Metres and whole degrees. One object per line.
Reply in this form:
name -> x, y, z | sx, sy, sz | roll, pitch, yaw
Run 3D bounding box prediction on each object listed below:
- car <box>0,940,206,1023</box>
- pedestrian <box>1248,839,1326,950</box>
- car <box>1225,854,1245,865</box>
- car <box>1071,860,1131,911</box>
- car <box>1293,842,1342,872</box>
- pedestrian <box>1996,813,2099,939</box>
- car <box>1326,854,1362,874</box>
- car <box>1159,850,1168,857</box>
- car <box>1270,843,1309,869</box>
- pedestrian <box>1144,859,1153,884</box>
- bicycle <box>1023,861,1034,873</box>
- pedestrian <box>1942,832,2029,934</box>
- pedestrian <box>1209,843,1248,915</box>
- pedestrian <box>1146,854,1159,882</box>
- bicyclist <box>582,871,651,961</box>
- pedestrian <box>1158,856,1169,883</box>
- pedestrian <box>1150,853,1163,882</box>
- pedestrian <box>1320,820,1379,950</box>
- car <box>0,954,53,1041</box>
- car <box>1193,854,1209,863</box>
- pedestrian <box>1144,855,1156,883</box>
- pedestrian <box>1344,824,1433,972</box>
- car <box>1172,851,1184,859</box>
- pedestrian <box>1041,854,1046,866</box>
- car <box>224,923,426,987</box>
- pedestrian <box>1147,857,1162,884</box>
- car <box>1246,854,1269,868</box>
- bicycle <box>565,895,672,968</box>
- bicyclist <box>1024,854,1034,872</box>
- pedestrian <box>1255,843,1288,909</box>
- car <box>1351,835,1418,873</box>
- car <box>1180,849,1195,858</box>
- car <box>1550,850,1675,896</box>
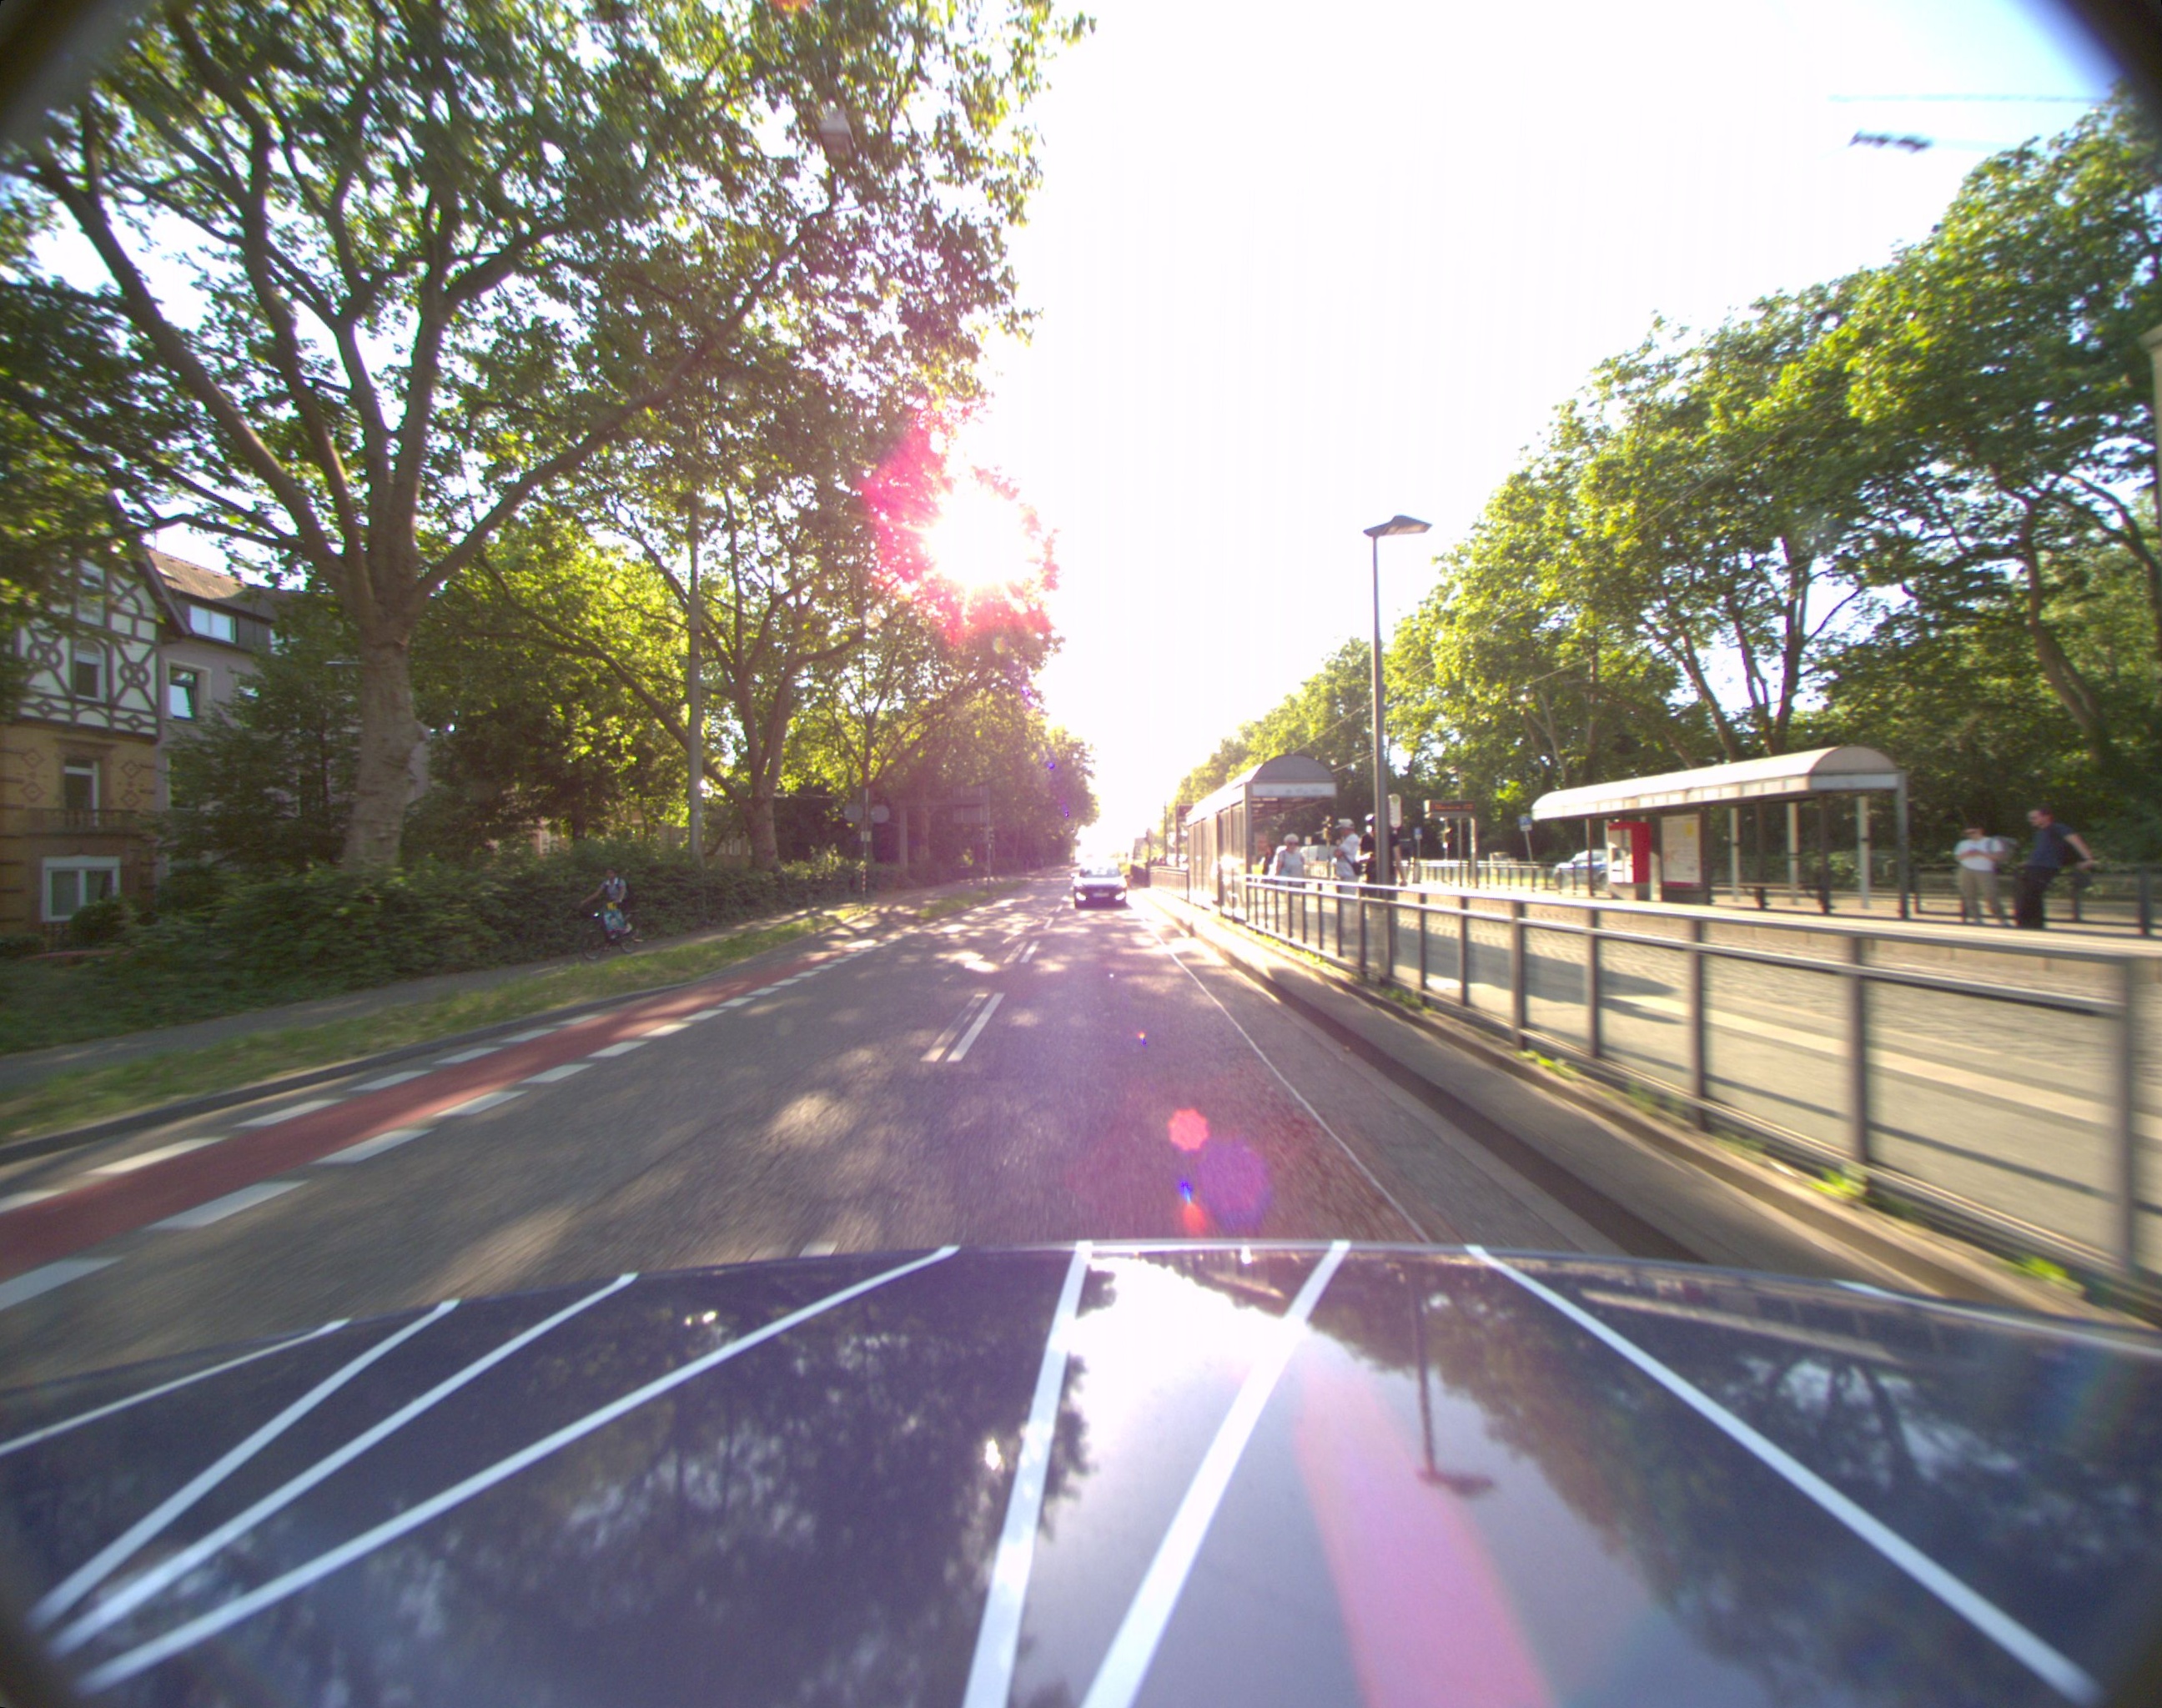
car -> -23.034, 2.857, 17.098 | 4.007, 1.501, 1.796 | 0, -1, -31
pedestrian -> 3.189, 0.609, 11.735 | 0.800, 1.624, 0.868 | -3, 0, 39
car -> 20.778, 0.674, 102.660 | 1.743, 1.428, 3.851 | 1, 1, -1
car -> 0.655, 0.995, 25.573 | 1.799, 1.501, 4.000 | -2, 0, 1
car -> 21.332, 0.231, 68.874 | 2.189, 2.506, 6.269 | 1, 1, -2
pedestrian -> 14.107, 0.309, 11.109 | 0.649, 1.762, 0.650 | -2, 1, 3
car -> 21.489, 0.792, 62.191 | 1.656, 1.504, 3.265 | 1, 1, -2
car -> 20.649, -0.150, 189.717 | 1.734, 1.730, 3.899 | 1, 1, -1
car -> 21.006, 0.167, 76.860 | 2.189, 2.506, 6.049 | 1, 1, -1
pedestrian -> 3.625, 0.929, 40.965 | 0.417, 1.313, 0.359 | 1, 1, 1
bicycle -> -4.985, 1.242, 72.352 | 0.700, 1.101, 1.931 | -1, 0, 9
pedestrian -> 14.174, 0.438, 11.922 | 0.594, 1.535, 0.627 | -2, 1, 1
pedestrian -> 3.565, 0.584, 18.413 | 0.744, 1.684, 0.791 | -3, 1, 1
pedestrian -> 3.945, 0.766, 42.110 | 0.520, 1.559, 0.509 | 2, 1, 31
bicyclist -> -8.112, 1.065, 13.291 | 0.768, 1.504, 0.650 | -1, 0, 0
pedestrian -> 4.529, 0.825, 41.771 | 0.521, 1.463, 0.514 | 1, 1, 2
pedestrian -> 4.232, 0.750, 42.511 | 0.520, 1.559, 0.509 | 2, 1, 31
pedestrian -> 3.946, 0.446, 11.221 | 0.652, 1.831, 0.711 | -2, 1, 11
car -> -22.741, 2.821, 14.070 | 4.007, 1.501, 1.796 | 0, -1, -31
car -> 20.075, 0.747, 127.014 | 1.832, 1.496, 4.393 | 1, 1, -1
pedestrian -> 3.775, 0.807, 41.494 | 0.591, 1.510, 0.514 | 1, 1, 1
pedestrian -> 3.755, 0.512, 9.290 | 0.654, 1.712, 0.708 | -3, 1, -35
car -> 20.600, 0.199, 161.530 | 1.832, 1.830, 4.393 | 1, 1, -1
pedestrian -> -5.232, 0.862, 106.108 | 0.649, 1.626, 0.928 | 1, 1, 2
car -> -22.540, 2.966, 22.900 | 4.007, 1.501, 1.796 | 0, -1, -31
pedestrian -> 3.925, 0.887, 40.407 | 0.592, 1.398, 0.558 | 1, 1, -20
car -> 20.902, 0.852, 90.094 | 1.743, 1.546, 3.881 | 1, 1, -1
bicycle -> -8.117, 1.322, 13.439 | 0.768, 1.101, 1.800 | -1, 0, 0
bicyclist -> -4.994, 0.883, 72.350 | 0.700, 1.718, 1.081 | -1, 0, 9
pedestrian -> 4.604, 0.531, 18.430 | 0.589, 1.558, 0.650 | -3, 1, 1
car -> 21.318, -0.003, 53.742 | 2.189, 2.506, 6.031 | 1, 1, -1
car -> 20.371, -0.062, 145.597 | 1.832, 1.709, 4.392 | 1, 1, -5
car -> 20.422, 0.667, 29.431 | 1.908, 1.642, 3.971 | 1, 1, -2
